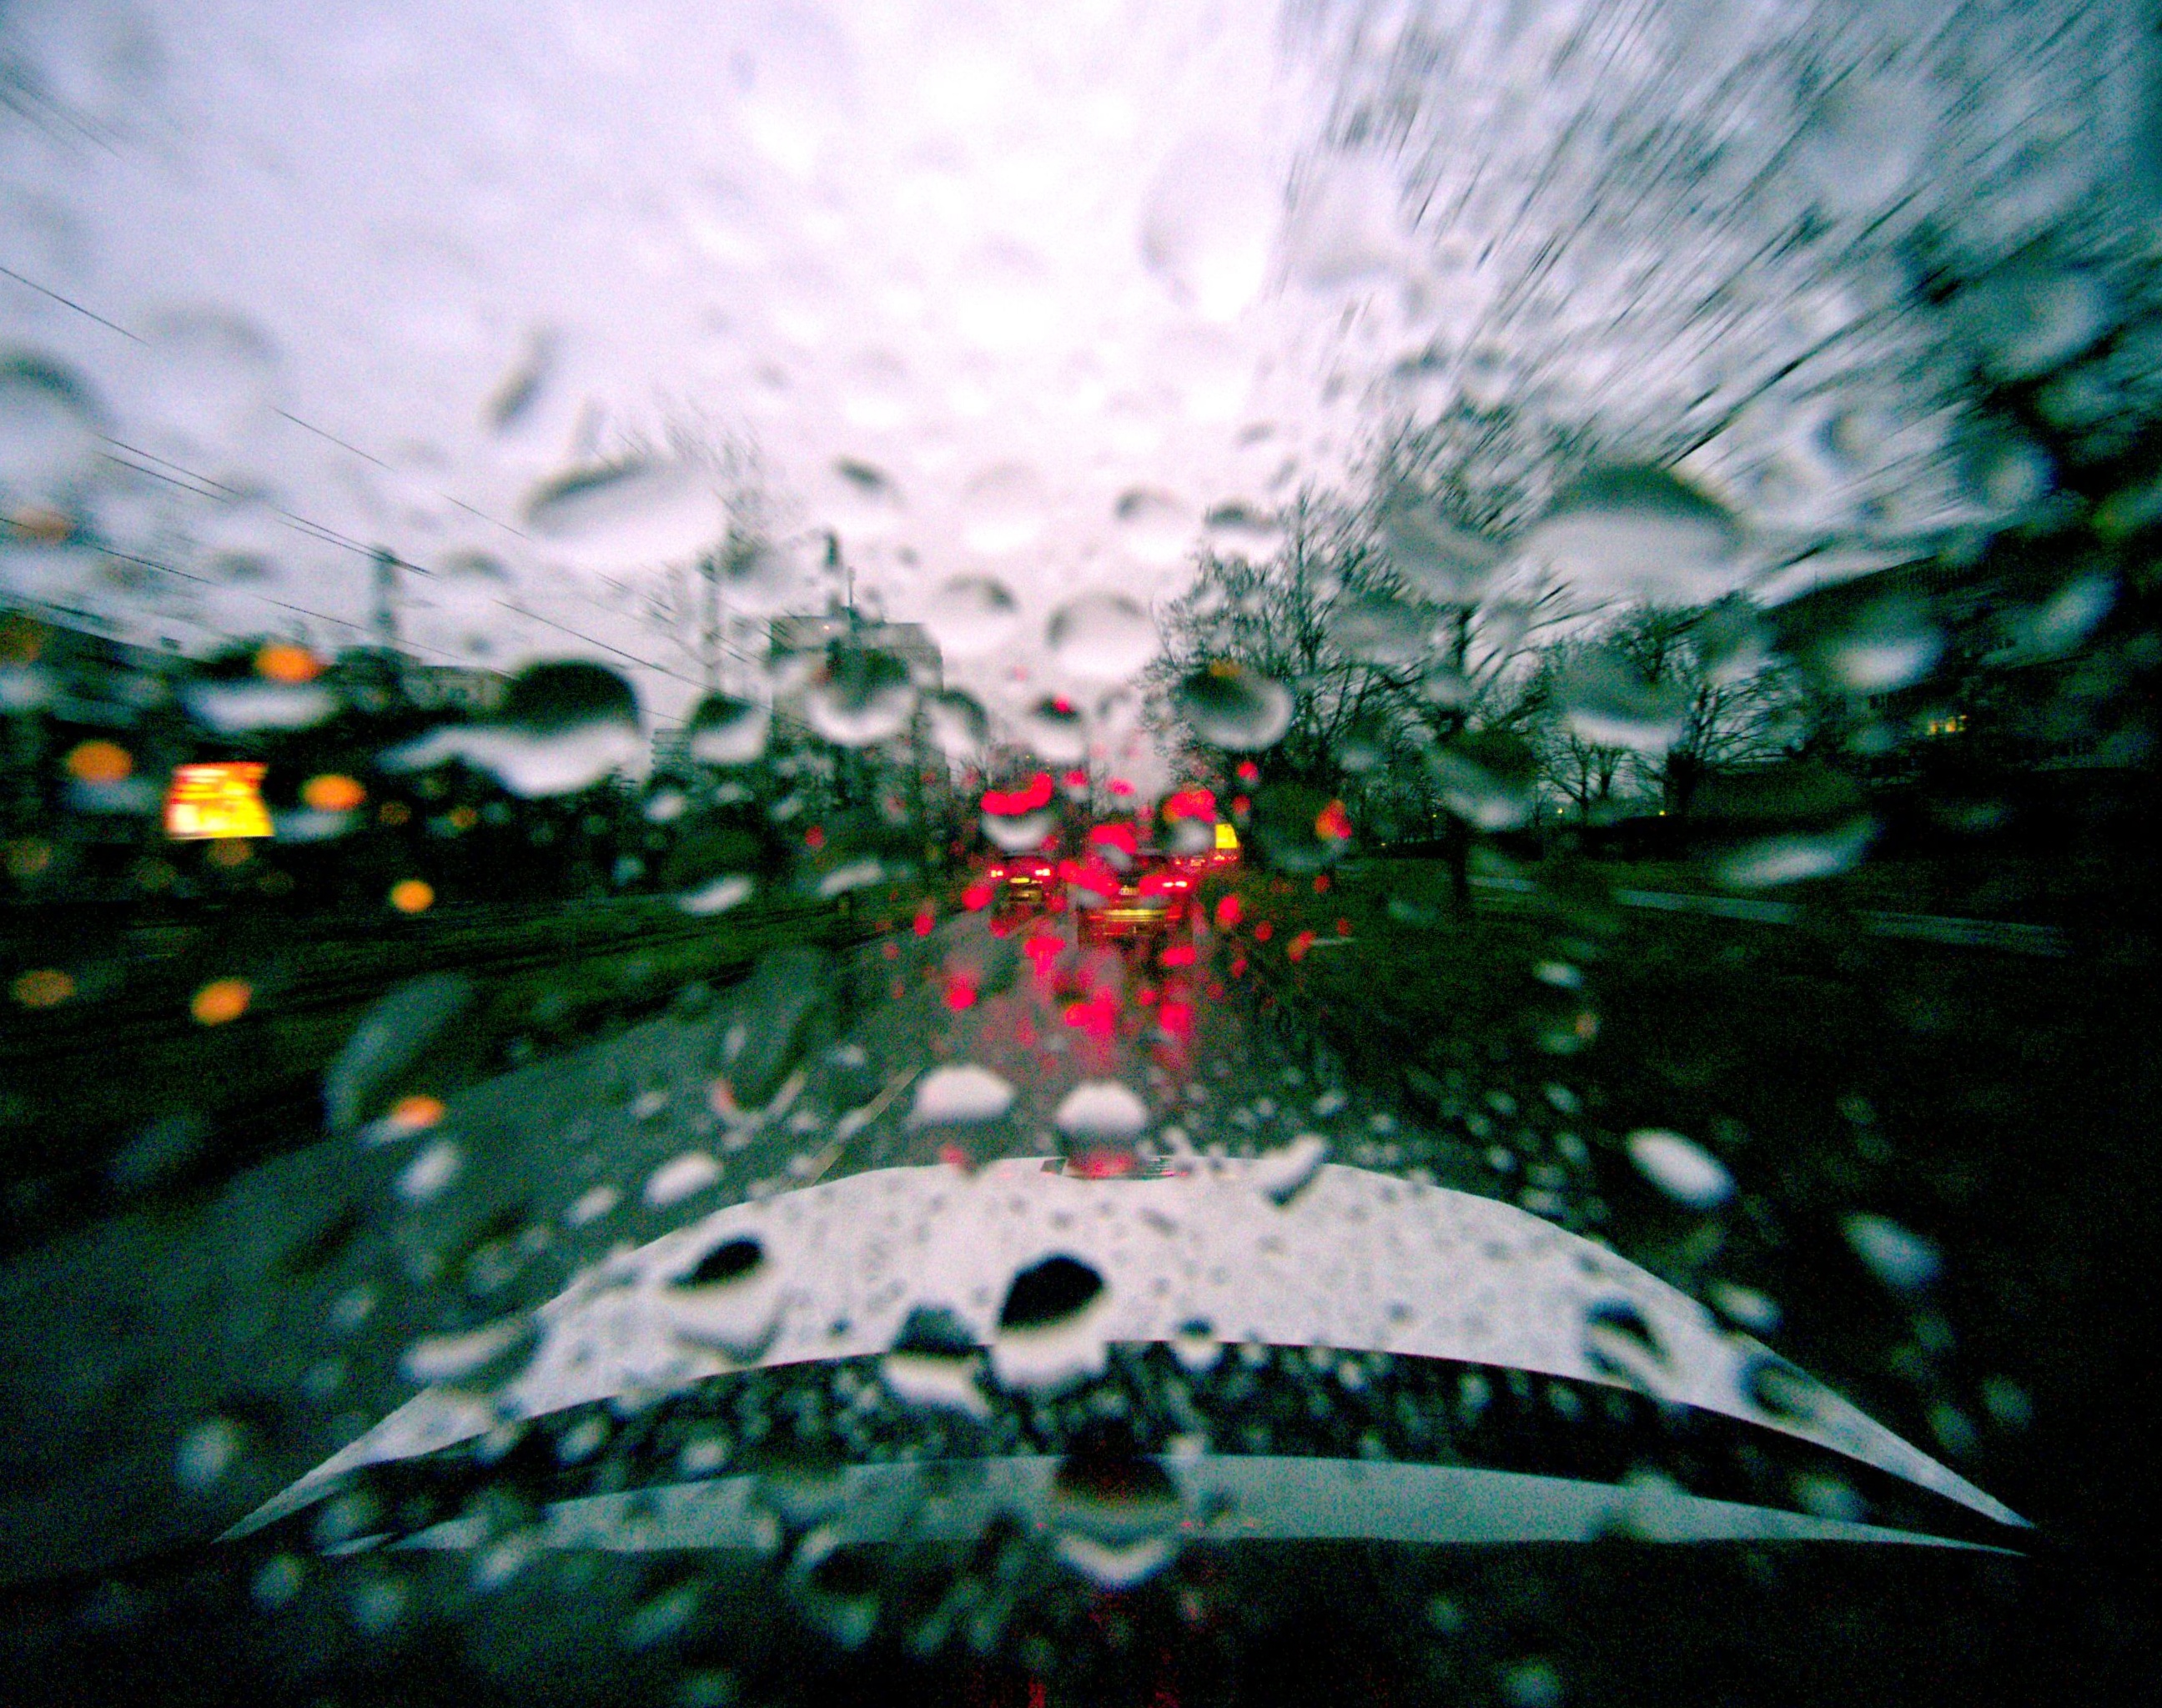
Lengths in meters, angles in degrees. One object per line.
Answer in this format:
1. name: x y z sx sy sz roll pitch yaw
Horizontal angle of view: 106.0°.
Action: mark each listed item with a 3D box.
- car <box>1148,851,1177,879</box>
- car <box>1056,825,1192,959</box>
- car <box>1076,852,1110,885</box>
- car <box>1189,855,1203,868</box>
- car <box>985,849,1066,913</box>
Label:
1. car: 5.632 0.777 56.398 1.848 1.892 4.003 -1 -2 4
2. car: 0.795 0.619 14.127 1.984 1.976 4.073 -1 -2 4
3. car: 0.653 0.783 46.142 1.821 1.739 3.805 -1 0 1
4. car: 14.029 0.921 99.373 1.526 1.513 3.351 -1 -2 10
5. car: -1.555 0.778 24.239 1.986 1.712 4.325 -1 -2 1
